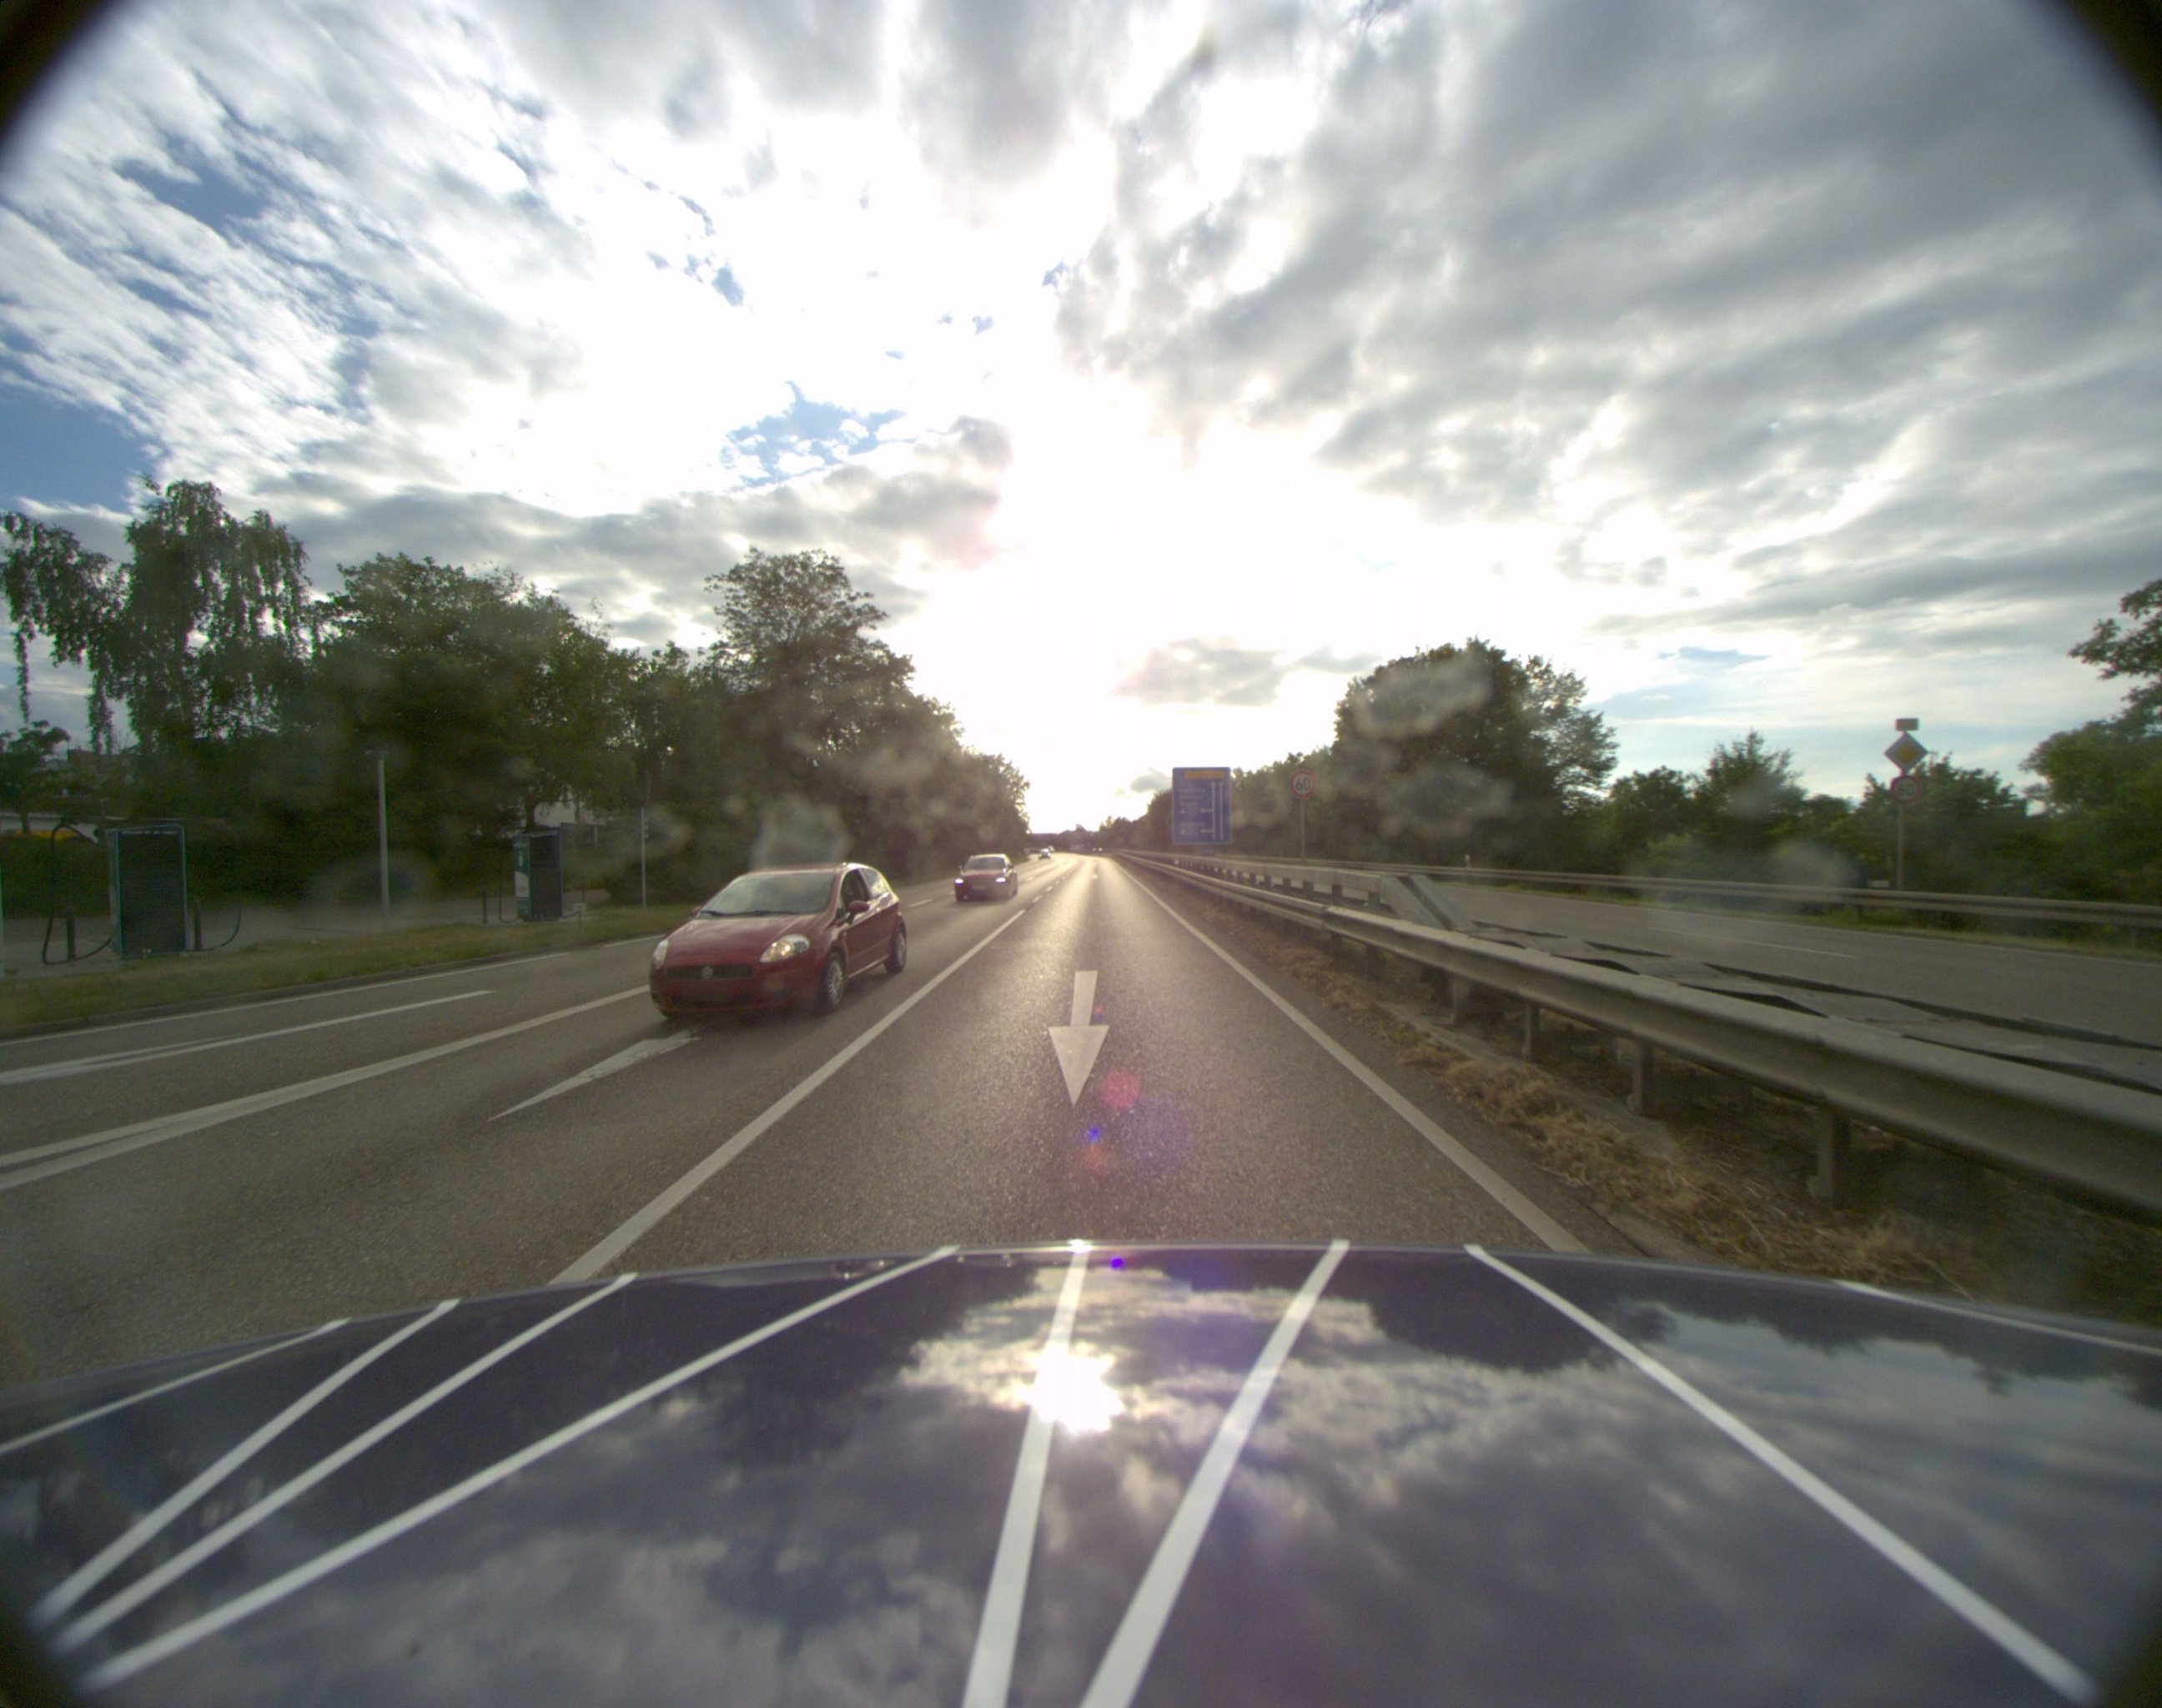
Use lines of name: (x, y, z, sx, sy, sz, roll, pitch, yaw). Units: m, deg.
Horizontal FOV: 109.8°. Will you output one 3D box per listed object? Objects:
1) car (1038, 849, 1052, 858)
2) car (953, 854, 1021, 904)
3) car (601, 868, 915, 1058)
car: (-5.694, -0.089, 120.076, 1.998, 1.486, 4.000, 0, 1, 1)
car: (-3.038, 0.757, 25.285, 1.700, 1.407, 3.999, -2, 1, 0)
car: (-3.164, 0.960, 8.406, 1.667, 1.424, 3.994, -2, 1, 1)
